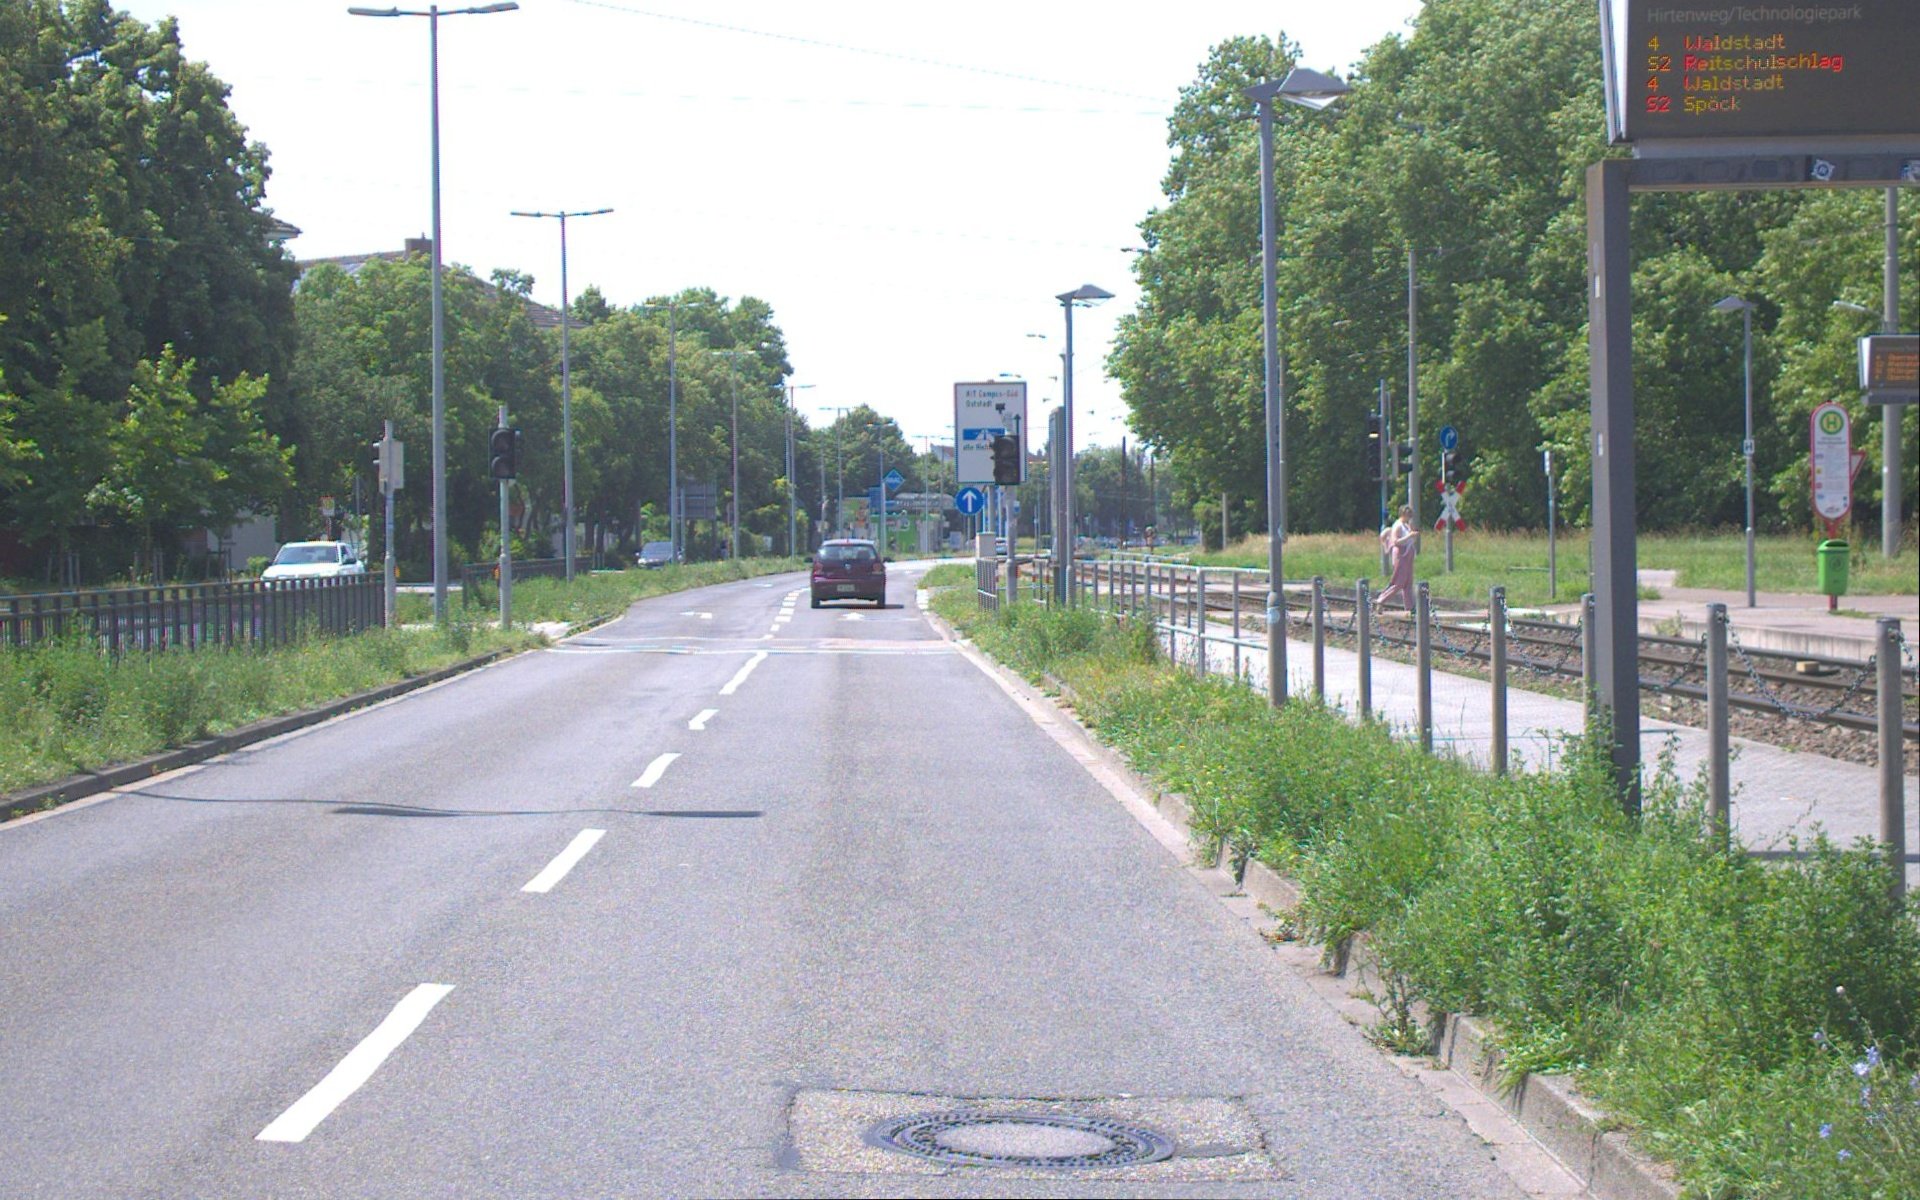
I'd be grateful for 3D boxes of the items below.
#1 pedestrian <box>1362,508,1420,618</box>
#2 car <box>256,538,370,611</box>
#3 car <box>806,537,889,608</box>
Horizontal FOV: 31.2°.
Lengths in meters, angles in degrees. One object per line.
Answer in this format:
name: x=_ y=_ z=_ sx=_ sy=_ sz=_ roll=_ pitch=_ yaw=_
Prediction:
pedestrian: x=6.939 y=-0.596 z=55.371 sx=0.634 sy=1.753 sz=0.817 roll=1 pitch=0 yaw=-15
car: x=-14.526 y=-0.593 z=77.327 sx=1.821 sy=1.567 sz=4.347 roll=-1 pitch=1 yaw=-2
car: x=-2.426 y=-0.620 z=74.640 sx=1.703 sy=1.472 sz=3.717 roll=-1 pitch=1 yaw=-1
